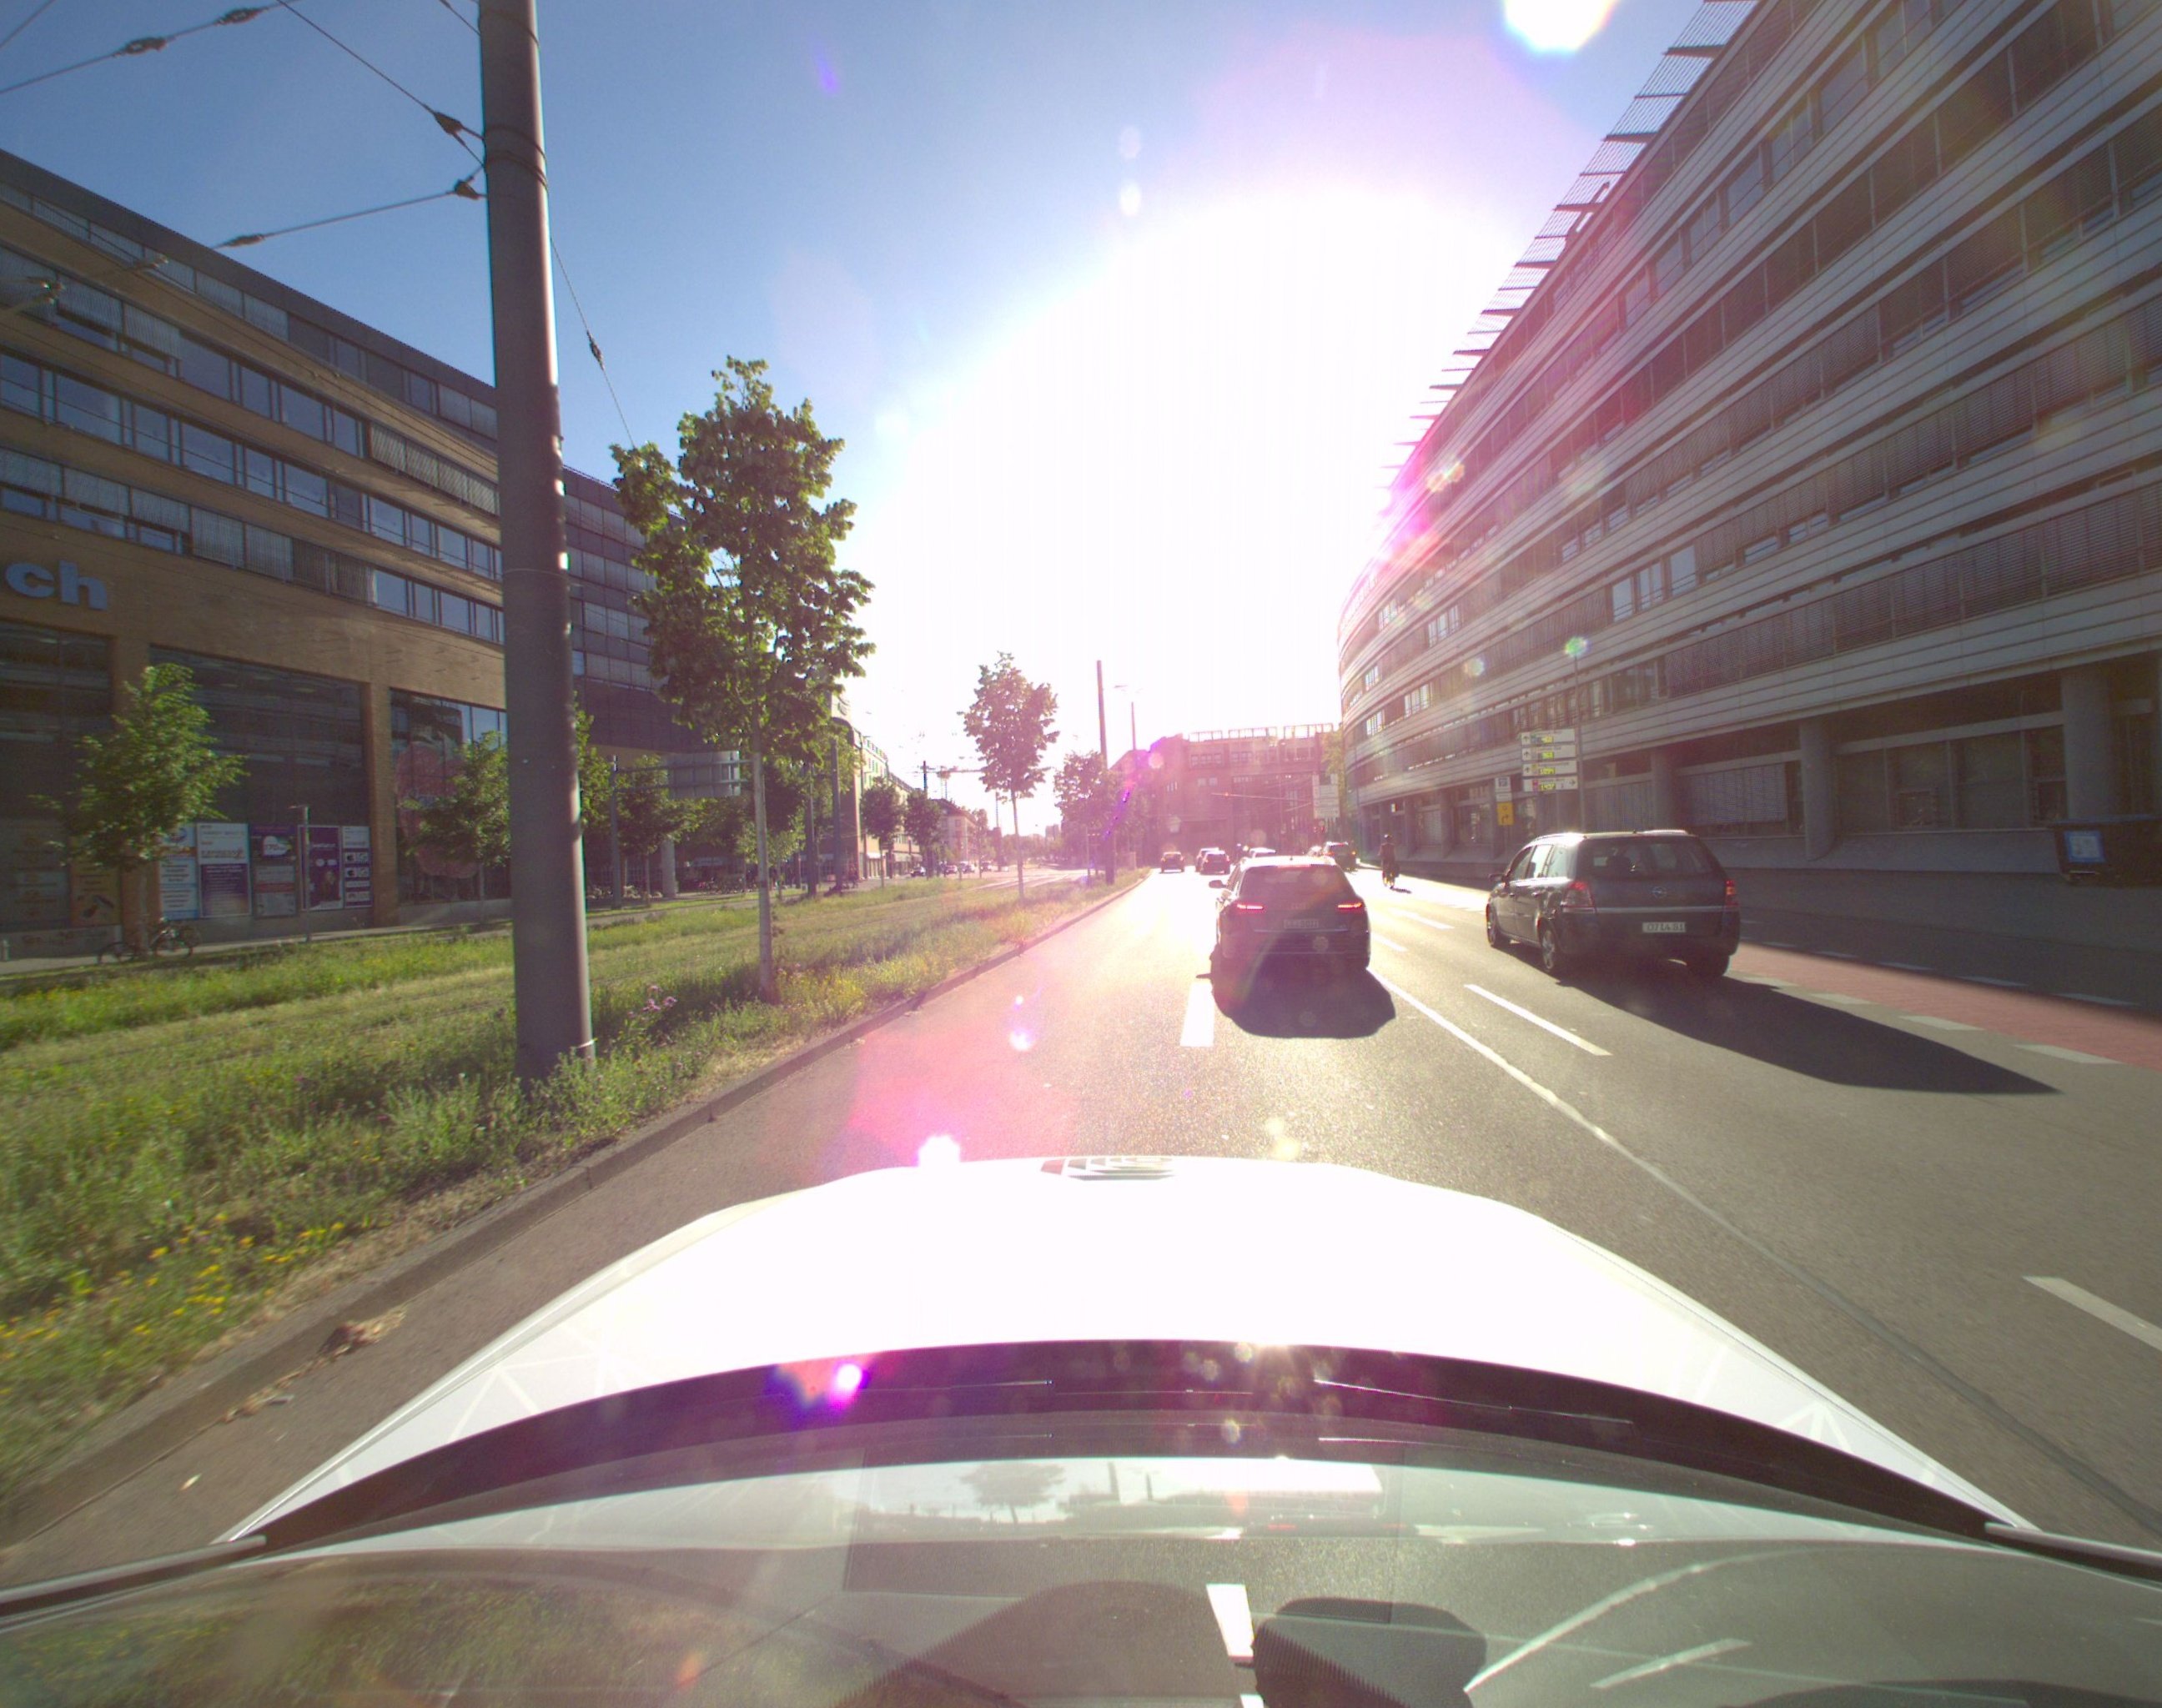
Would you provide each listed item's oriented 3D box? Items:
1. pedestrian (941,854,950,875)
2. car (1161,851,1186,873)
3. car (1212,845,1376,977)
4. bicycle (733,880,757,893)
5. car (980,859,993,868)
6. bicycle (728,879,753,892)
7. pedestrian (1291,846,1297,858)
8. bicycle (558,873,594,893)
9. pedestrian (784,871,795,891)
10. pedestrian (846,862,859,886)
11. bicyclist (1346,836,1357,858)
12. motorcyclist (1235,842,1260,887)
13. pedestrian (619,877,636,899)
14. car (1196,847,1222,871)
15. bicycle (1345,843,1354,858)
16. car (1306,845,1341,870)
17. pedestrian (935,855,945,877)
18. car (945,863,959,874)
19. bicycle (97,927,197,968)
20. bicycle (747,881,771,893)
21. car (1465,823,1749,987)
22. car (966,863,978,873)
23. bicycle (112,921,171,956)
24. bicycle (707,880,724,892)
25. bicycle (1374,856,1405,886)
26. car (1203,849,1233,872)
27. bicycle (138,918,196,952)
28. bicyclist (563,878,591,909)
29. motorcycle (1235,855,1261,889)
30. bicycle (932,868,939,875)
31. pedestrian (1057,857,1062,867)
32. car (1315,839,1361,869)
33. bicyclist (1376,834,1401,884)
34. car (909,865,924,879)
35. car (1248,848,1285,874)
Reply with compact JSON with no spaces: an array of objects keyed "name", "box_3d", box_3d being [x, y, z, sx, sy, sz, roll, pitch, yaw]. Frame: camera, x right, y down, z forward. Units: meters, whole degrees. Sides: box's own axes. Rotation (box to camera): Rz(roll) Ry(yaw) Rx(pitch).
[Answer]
[{"name":"pedestrian","box_3d":[-11.644,0.883,69.744,0.561,1.817,0.663,-3,0,0]},{"name":"car","box_3d":[6.773,0.537,59.222,1.640,1.433,4.008,-3,0,7]},{"name":"car","box_3d":[2.880,0.652,11.593,1.799,1.492,4.510,-2,0,11]},{"name":"bicycle","box_3d":[-27.914,2.708,67.693,1.772,0.951,0.537,-3,0,-21]},{"name":"car","box_3d":[-15.555,1.565,133.917,1.745,1.504,3.866,-3,0,-10]},{"name":"bicycle","box_3d":[-27.865,2.616,66.712,1.765,0.951,0.540,-3,0,-9]},{"name":"pedestrian","box_3d":[26.177,-0.205,99.975,0.527,1.430,0.599,-3,0,6]},{"name":"bicycle","box_3d":[-25.848,1.490,41.715,0.496,0.910,1.890,-3,0,4]},{"name":"pedestrian","box_3d":[-29.428,2.704,82.230,0.662,2.013,0.679,-3,0,7]},{"name":"pedestrian","box_3d":[-19.808,1.736,70.669,0.728,2.013,0.840,-2,0,11]},{"name":"bicyclist","box_3d":[20.378,-0.557,61.276,0.678,1.618,0.996,-3,0,18]},{"name":"motorcyclist","box_3d":[5.856,0.360,28.682,0.740,1.530,1.023,-3,0,10]},{"name":"pedestrian","box_3d":[-36.492,2.723,65.503,0.728,1.645,0.840,-3,0,11]},{"name":"car","box_3d":[9.399,0.337,60.135,1.727,1.651,4.009,-3,0,8]},{"name":"bicycle","box_3d":[20.205,-0.270,61.212,0.500,1.058,1.710,-5,-1,19]},{"name":"car","box_3d":[17.696,0.238,59.669,1.981,1.651,4.012,-3,0,11]},{"name":"pedestrian","box_3d":[-11.902,1.034,68.617,0.629,1.830,0.663,-3,0,0]},{"name":"car","box_3d":[-21.416,2.417,135.177,1.992,1.596,4.727,-4,0,-7]},{"name":"bicycle","box_3d":[-24.944,2.483,21.788,0.460,0.868,1.775,-3,0,7]},{"name":"bicycle","box_3d":[-27.550,2.805,69.701,1.760,0.951,0.541,-3,0,-1]},{"name":"car","box_3d":[6.381,0.520,10.516,1.676,1.629,4.480,-3,0,14]},{"name":"car","box_3d":[-18.127,2.356,135.007,1.745,1.504,3.866,-3,0,-10]},{"name":"bicycle","box_3d":[-30.856,2.762,26.744,1.753,1.049,0.492,-3,0,13]},{"name":"bicycle","box_3d":[-30.001,2.649,66.835,1.749,0.951,0.545,-3,0,43]},{"name":"bicycle","box_3d":[11.211,0.598,29.677,0.489,0.997,2.333,-3,0,8]},{"name":"car","box_3d":[8.851,0.403,52.721,1.727,1.349,4.009,-3,0,8]},{"name":"bicycle","box_3d":[-30.747,2.726,27.402,1.753,1.049,0.492,-3,0,13]},{"name":"bicyclist","box_3d":[-25.815,2.019,41.732,0.675,1.465,1.017,-3,0,4]},{"name":"motorcycle","box_3d":[5.888,0.614,28.837,0.770,1.115,1.974,-3,0,9]},{"name":"bicycle","box_3d":[-23.090,2.803,129.460,0.648,1.085,2.925,-3,0,-1]},{"name":"pedestrian","box_3d":[-3.659,1.318,140.628,0.741,1.640,0.766,-3,0,-7]},{"name":"car","box_3d":[16.679,-0.002,53.032,1.983,1.750,4.337,-3,0,7]},{"name":"bicyclist","box_3d":[11.176,0.179,29.587,0.574,1.791,0.865,-3,0,8]},{"name":"car","box_3d":[-26.837,2.923,132.742,1.991,2.013,3.991,-3,0,-7]},{"name":"car","box_3d":[11.121,0.408,49.097,1.797,1.457,4.009,-2,0,7]}]
